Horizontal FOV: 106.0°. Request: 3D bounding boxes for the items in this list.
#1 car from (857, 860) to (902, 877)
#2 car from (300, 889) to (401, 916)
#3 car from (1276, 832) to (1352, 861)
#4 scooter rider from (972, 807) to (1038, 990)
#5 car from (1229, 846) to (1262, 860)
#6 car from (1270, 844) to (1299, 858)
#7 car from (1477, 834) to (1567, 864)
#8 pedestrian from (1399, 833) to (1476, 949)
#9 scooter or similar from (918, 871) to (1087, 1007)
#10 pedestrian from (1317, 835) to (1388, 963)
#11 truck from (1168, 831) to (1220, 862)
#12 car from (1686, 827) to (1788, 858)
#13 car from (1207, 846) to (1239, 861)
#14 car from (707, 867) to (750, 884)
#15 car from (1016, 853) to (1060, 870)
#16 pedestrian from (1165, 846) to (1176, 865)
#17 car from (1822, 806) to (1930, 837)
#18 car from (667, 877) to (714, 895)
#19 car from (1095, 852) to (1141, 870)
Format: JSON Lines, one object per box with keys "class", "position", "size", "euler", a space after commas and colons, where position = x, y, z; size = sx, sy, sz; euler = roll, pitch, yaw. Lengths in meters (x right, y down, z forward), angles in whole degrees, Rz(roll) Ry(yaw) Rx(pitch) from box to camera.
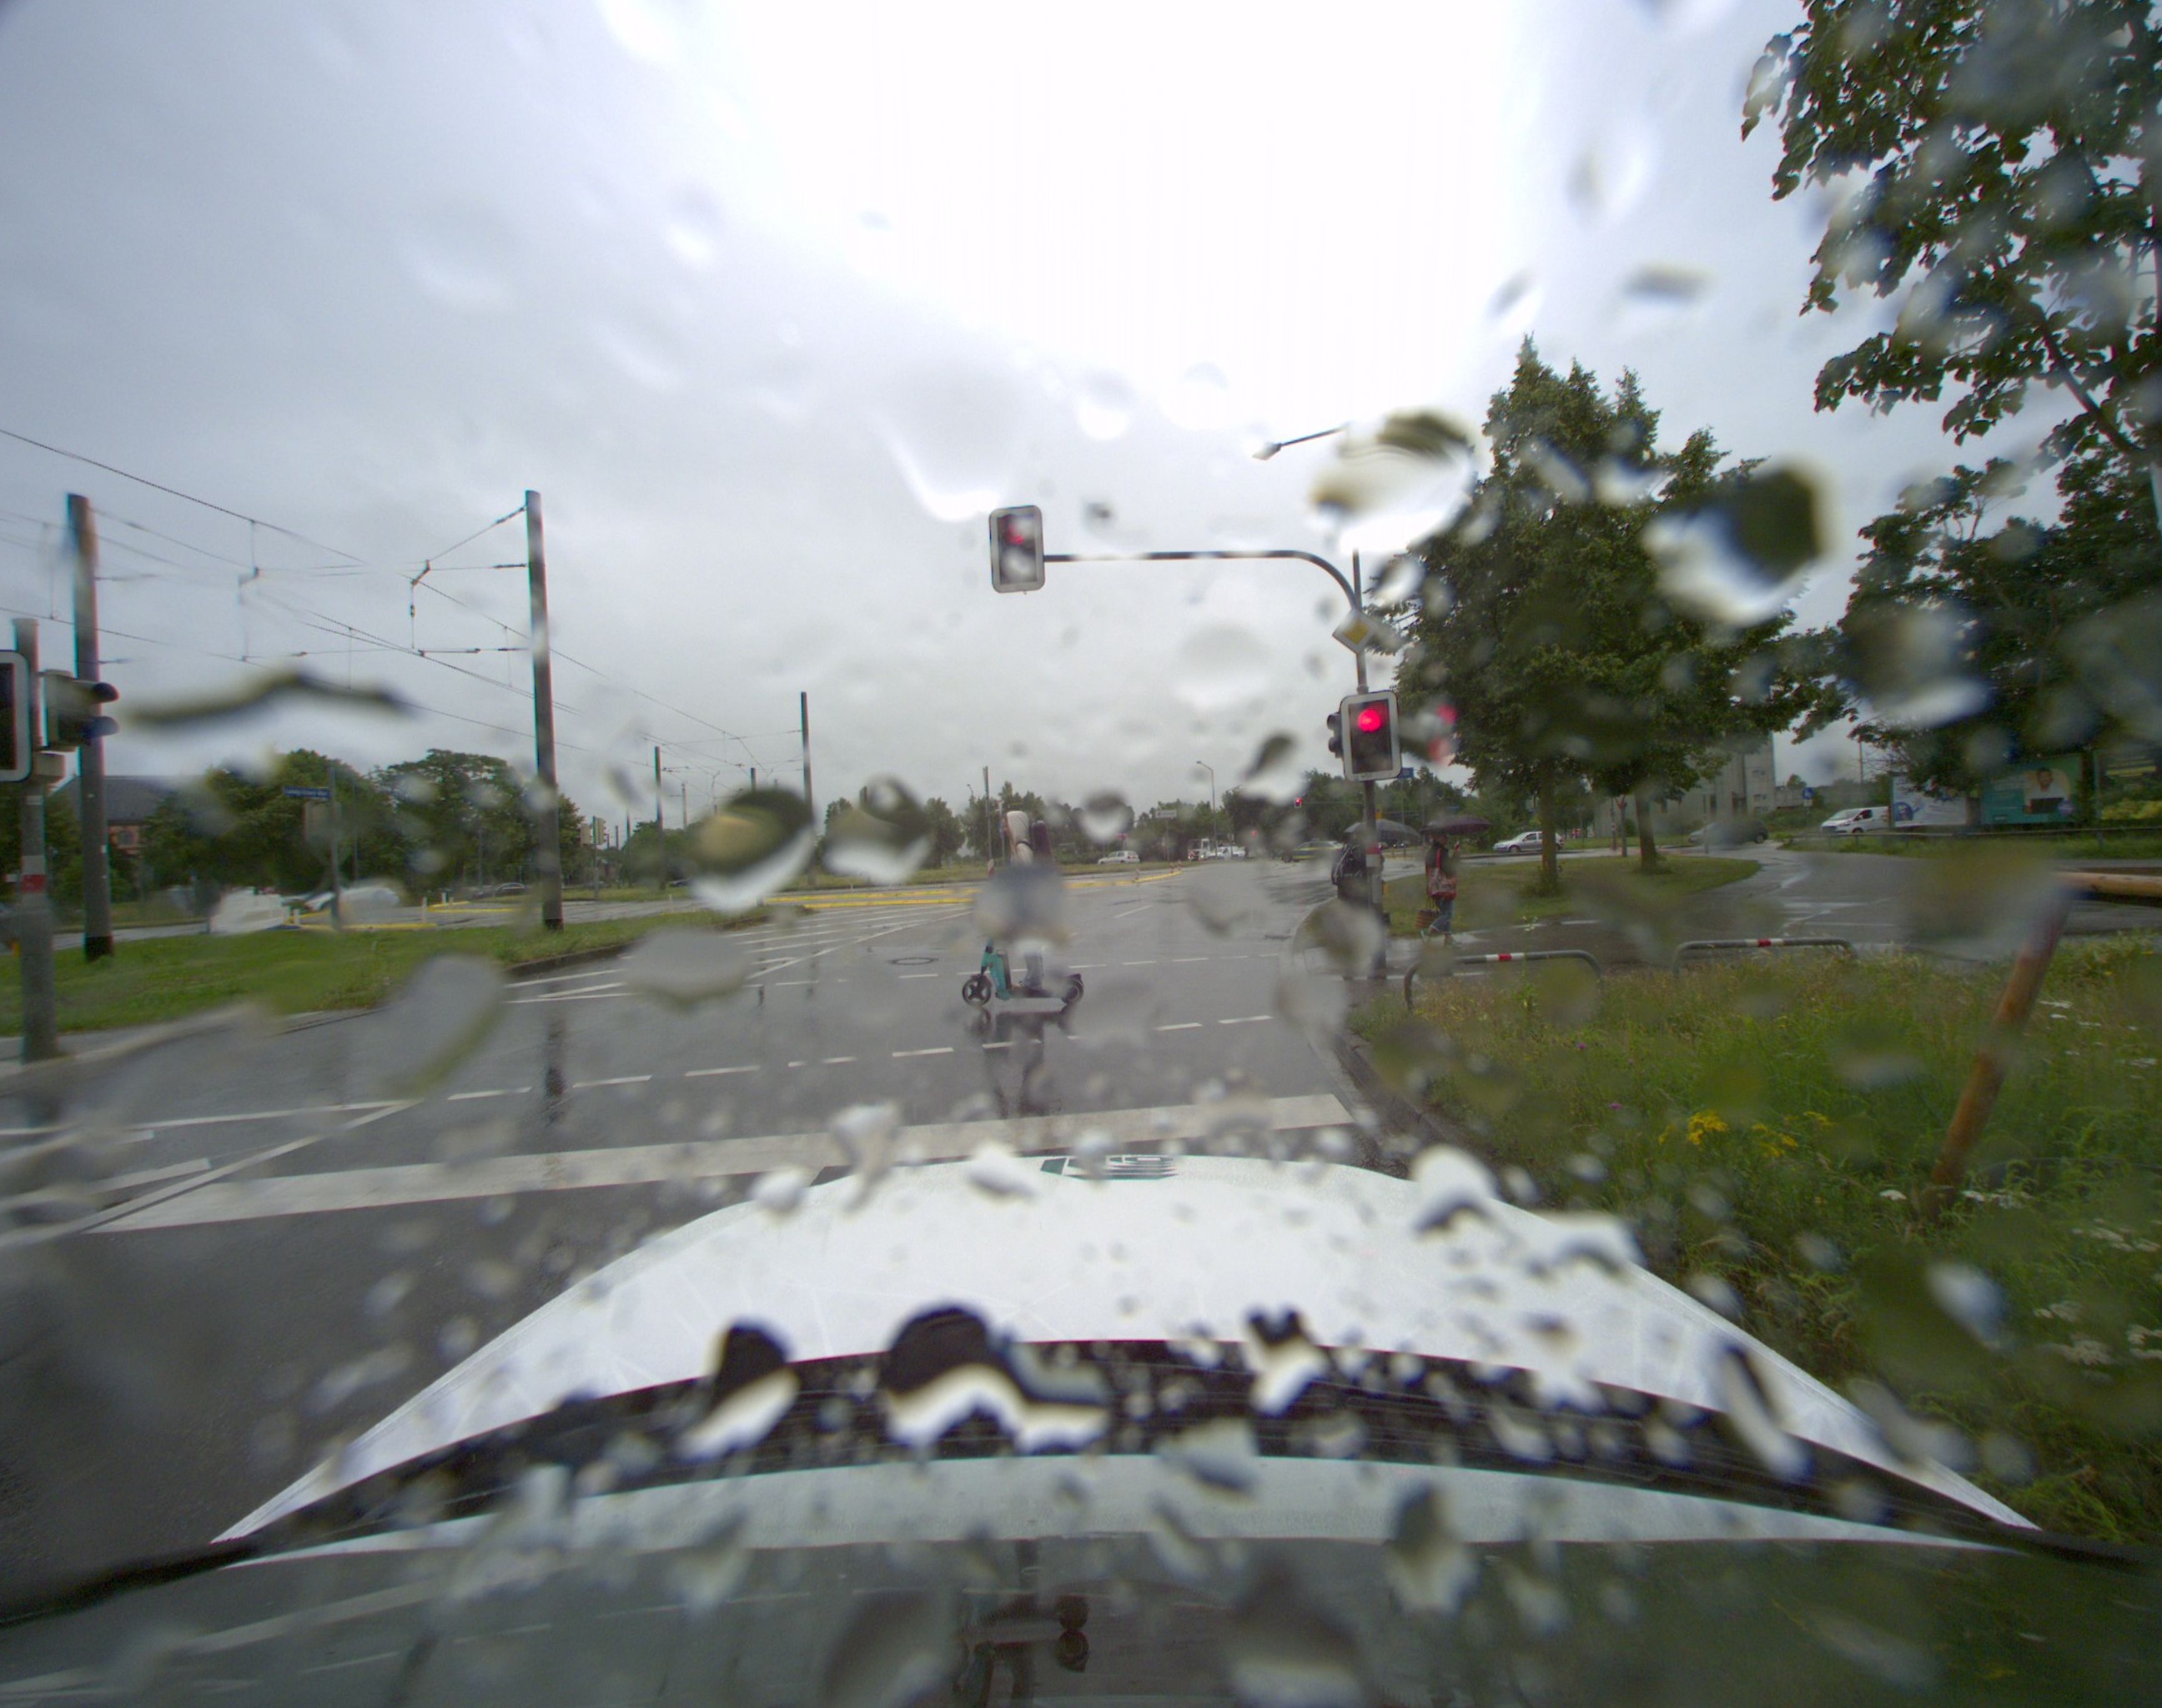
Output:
{"class": "car", "position": [-19.850, 1.403, 80.380], "size": [4.103, 1.454, 1.617], "euler": [-2, 0, -12]}
{"class": "car", "position": [-48.230, 3.177, 53.863], "size": [1.602, 1.454, 4.653], "euler": [-2, 0, 35]}
{"class": "car", "position": [16.412, -0.523, 57.433], "size": [4.714, 1.851, 2.013], "euler": [-2, 0, 34]}
{"class": "scooter rider", "position": [-0.733, 0.422, 7.937], "size": [0.530, 1.709, 0.433], "euler": [-3, -1, -4]}
{"class": "car", "position": [19.295, -0.103, 95.335], "size": [1.779, 1.662, 4.436], "euler": [-1, -1, 43]}
{"class": "car", "position": [27.378, -0.423, 109.473], "size": [1.779, 1.662, 4.437], "euler": [-3, 0, 43]}
{"class": "car", "position": [28.526, -0.295, 52.793], "size": [4.733, 1.851, 2.004], "euler": [0, -1, 8]}
{"class": "pedestrian", "position": [4.734, 0.483, 10.845], "size": [0.678, 1.461, 0.573], "euler": [-3, -1, -3]}
{"class": "scooter or similar", "position": [-0.752, 0.804, 7.926], "size": [1.582, 1.259, 0.447], "euler": [0, -1, -5]}
{"class": "pedestrian", "position": [3.345, 0.538, 10.082], "size": [0.619, 1.522, 0.741], "euler": [-1, 0, 0]}
{"class": "truck", "position": [10.540, -0.583, 75.121], "size": [2.439, 2.686, 8.105], "euler": [-1, -1, 25]}
{"class": "car", "position": [42.134, -0.722, 52.426], "size": [4.731, 1.851, 2.005], "euler": [0, -1, 9]}
{"class": "car", "position": [16.898, -0.065, 97.074], "size": [1.779, 1.662, 4.159], "euler": [-1, -1, 43]}
{"class": "car", "position": [-37.641, 2.300, 87.026], "size": [1.660, 1.816, 4.025], "euler": [-1, -1, 31]}
{"class": "car", "position": [-4.106, 0.730, 77.455], "size": [3.936, 1.454, 1.634], "euler": [-2, 0, 38]}
{"class": "pedestrian", "position": [6.093, 0.103, 55.437], "size": [0.448, 1.304, 0.489], "euler": [-3, 0, 40]}
{"class": "car", "position": [51.253, -2.099, 52.594], "size": [4.733, 1.851, 2.004], "euler": [0, -1, 8]}
{"class": "car", "position": [-38.505, 3.144, 80.325], "size": [3.998, 1.454, 1.608], "euler": [-2, 0, -29]}
{"class": "car", "position": [3.263, 0.602, 72.416], "size": [3.937, 1.454, 1.633], "euler": [-2, 0, 44]}
